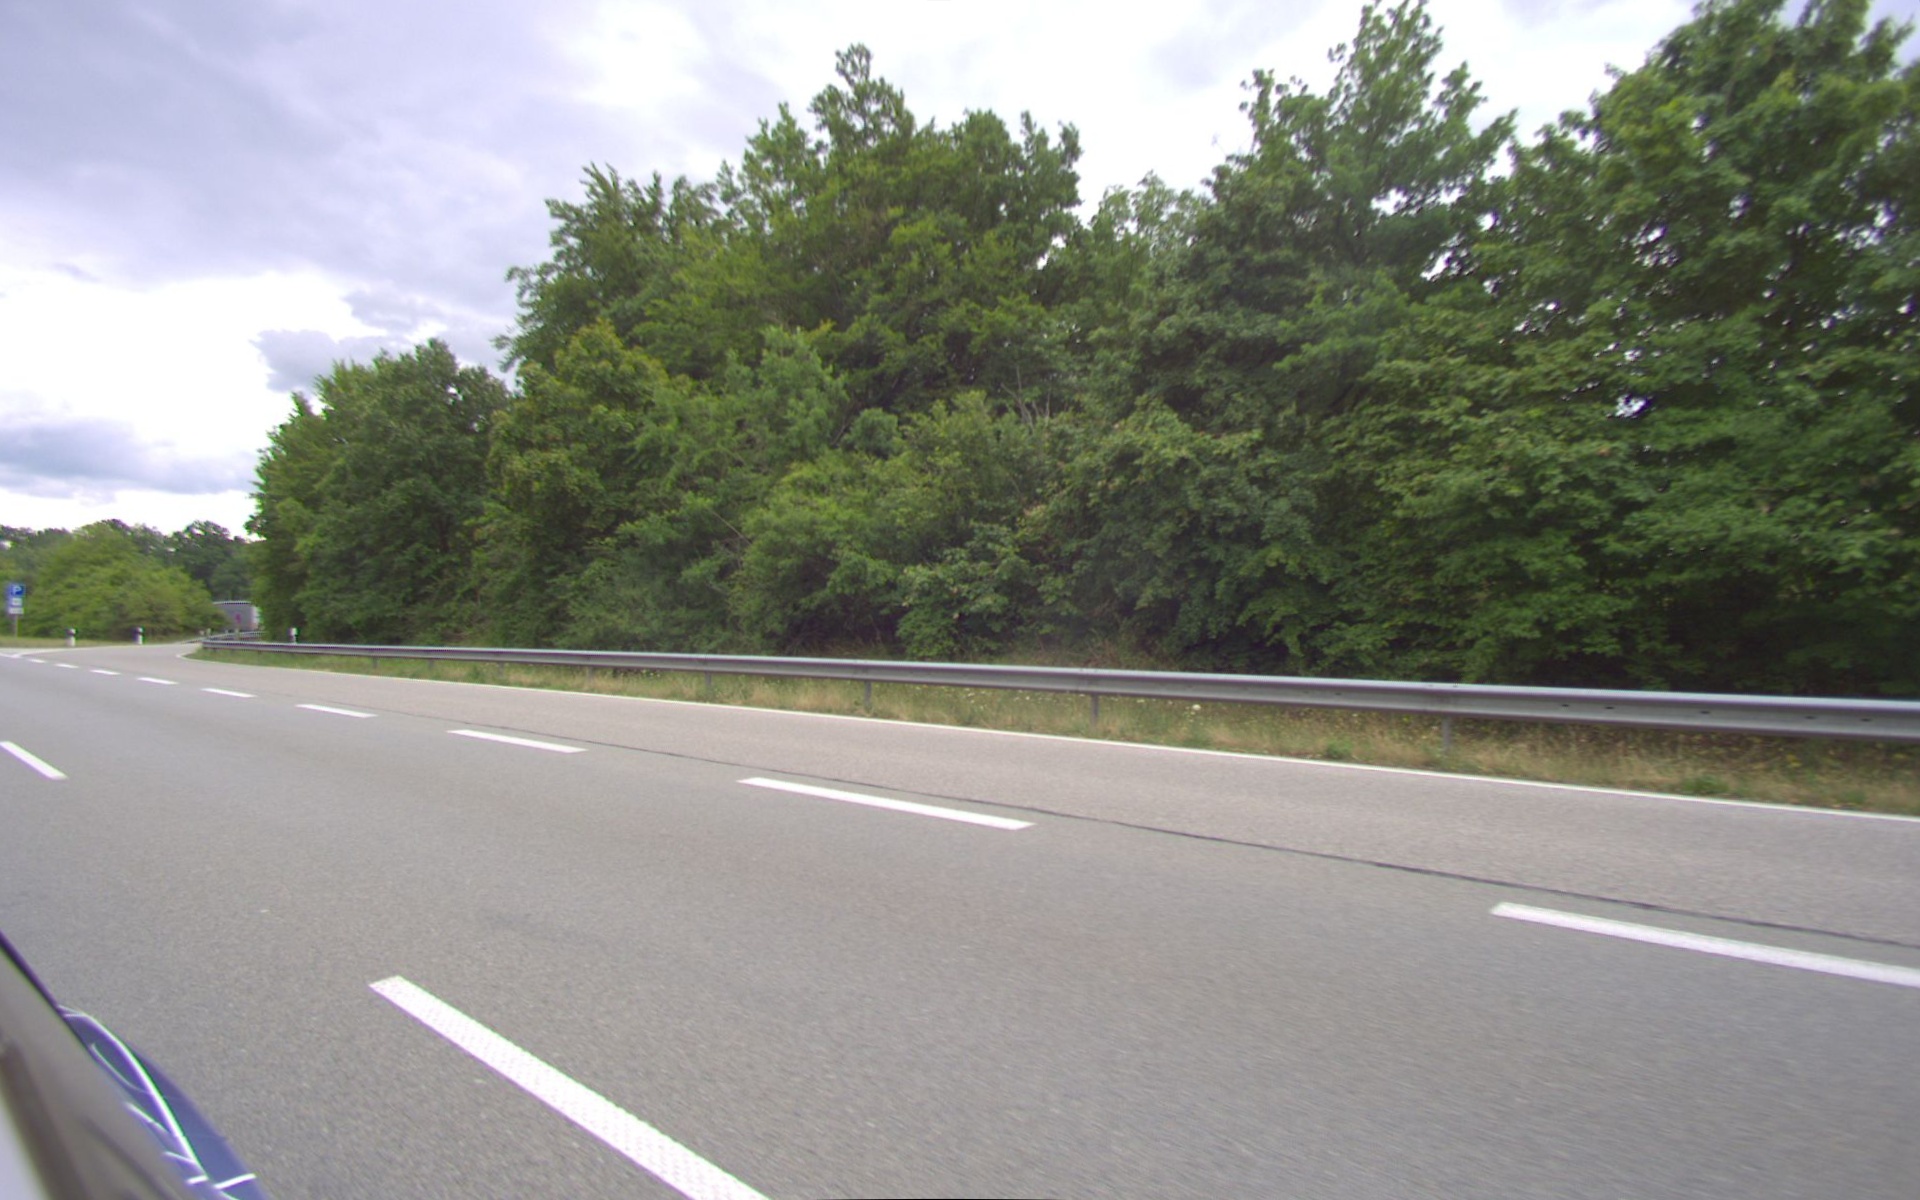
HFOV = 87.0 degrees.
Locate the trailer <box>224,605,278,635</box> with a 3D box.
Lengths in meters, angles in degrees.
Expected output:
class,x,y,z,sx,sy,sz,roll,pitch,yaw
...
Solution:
class,x,y,z,sx,sy,sz,roll,pitch,yaw
trailer,-78.613,2.201,112.250,1.998,3.277,4.629,-1,-1,40
